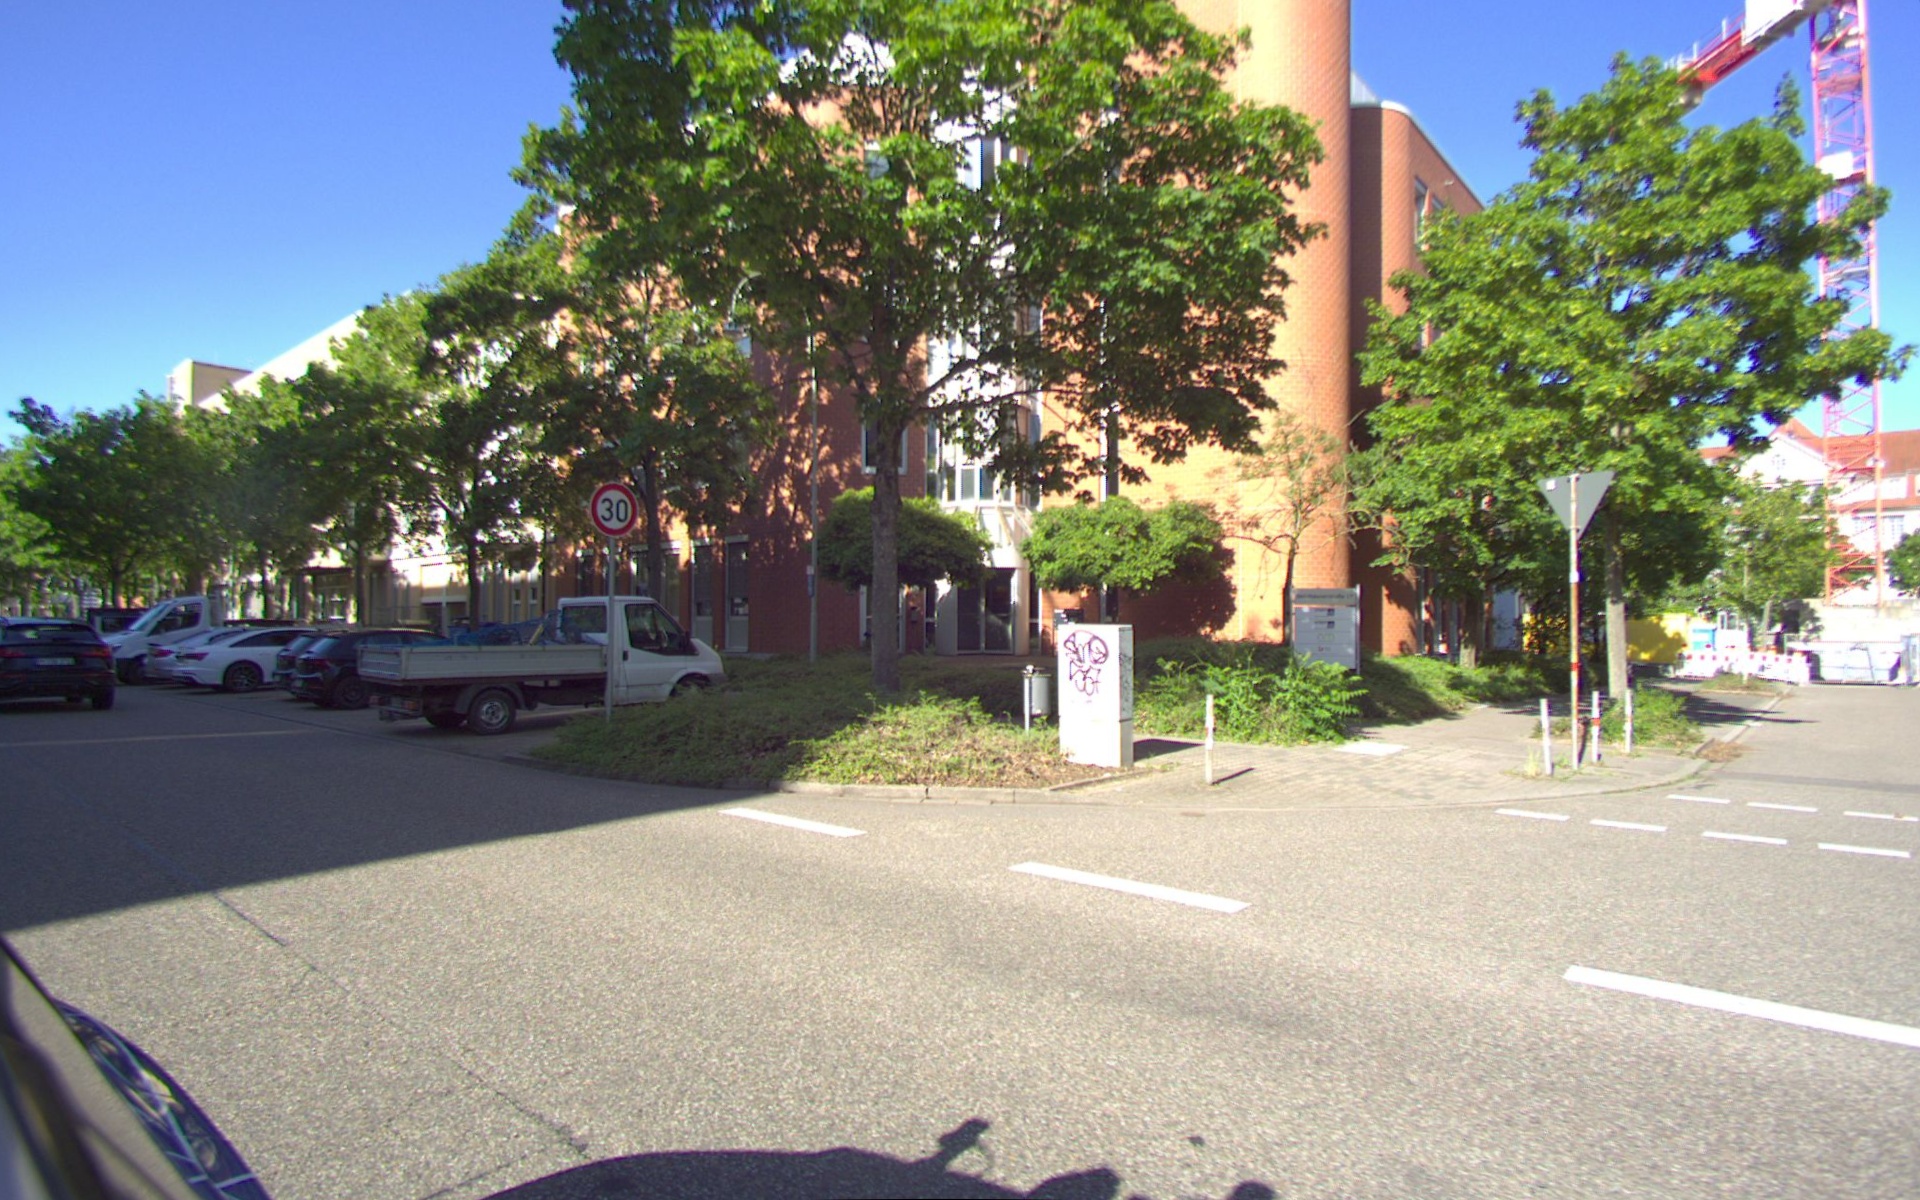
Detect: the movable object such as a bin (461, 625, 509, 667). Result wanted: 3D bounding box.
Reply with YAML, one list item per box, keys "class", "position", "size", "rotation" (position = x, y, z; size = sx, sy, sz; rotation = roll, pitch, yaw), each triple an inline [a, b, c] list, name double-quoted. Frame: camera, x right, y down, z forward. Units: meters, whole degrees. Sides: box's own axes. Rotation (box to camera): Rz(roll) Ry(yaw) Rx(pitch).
- class: "movable object such as a bin"
  position: [-18.145, 1.754, 38.701]
  size: [1.239, 1.575, 1.137]
  rotation: [-1, -3, 29]

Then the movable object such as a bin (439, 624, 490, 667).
- class: "movable object such as a bin"
  position: [-19.278, 1.759, 39.363]
  size: [1.436, 1.632, 1.137]
  rotation: [-1, -3, 29]

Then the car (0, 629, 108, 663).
- class: "car"
  position: [-42.990, 2.149, 48.008]
  size: [1.753, 1.463, 3.716]
  rotation: [-2, -1, 41]

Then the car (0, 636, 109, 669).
- class: "car"
  position: [-45.046, 2.585, 50.188]
  size: [1.800, 1.413, 4.109]
  rotation: [-2, -1, 41]

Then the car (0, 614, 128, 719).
- class: "car"
  position: [-16.823, 1.156, 18.317]
  size: [4.348, 1.697, 1.873]
  rotation: [-2, -3, 39]

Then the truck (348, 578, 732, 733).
- class: "truck"
  position: [-6.181, 0.819, 15.401]
  size: [2.138, 1.974, 4.930]
  rotation: [-2, -3, 43]

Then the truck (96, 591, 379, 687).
- class: "truck"
  position: [-20.342, 1.135, 28.803]
  size: [2.186, 2.440, 6.166]
  rotation: [-2, -3, 41]

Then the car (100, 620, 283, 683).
- class: "car"
  position: [-22.986, 1.484, 30.362]
  size: [1.999, 1.674, 4.065]
  rotation: [-1, -1, 41]

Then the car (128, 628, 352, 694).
- class: "car"
  position: [-18.575, 1.512, 26.264]
  size: [1.998, 1.498, 4.382]
  rotation: [-2, -2, 40]

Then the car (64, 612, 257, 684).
- class: "car"
  position: [-24.988, 1.429, 31.760]
  size: [1.998, 2.067, 4.437]
  rotation: [-1, -1, 39]

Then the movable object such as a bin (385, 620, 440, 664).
- class: "movable object such as a bin"
  position: [-23.014, 1.761, 42.571]
  size: [1.664, 1.810, 1.581]
  rotation: [-2, -3, 43]

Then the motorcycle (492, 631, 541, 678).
- class: "motorcycle"
  position: [-15.669, 1.922, 35.751]
  size: [2.108, 1.603, 0.707]
  rotation: [-2, -3, 40]

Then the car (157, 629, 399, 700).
- class: "car"
  position: [-16.317, 1.491, 24.407]
  size: [1.888, 1.453, 4.496]
  rotation: [-3, -2, 39]

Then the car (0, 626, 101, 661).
- class: "car"
  position: [-46.826, 2.189, 51.948]
  size: [1.727, 1.582, 3.946]
  rotation: [-2, 0, 40]

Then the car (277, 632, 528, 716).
- class: "car"
  position: [-10.739, 1.357, 19.667]
  size: [1.790, 1.446, 3.941]
  rotation: [-2, -3, 45]
